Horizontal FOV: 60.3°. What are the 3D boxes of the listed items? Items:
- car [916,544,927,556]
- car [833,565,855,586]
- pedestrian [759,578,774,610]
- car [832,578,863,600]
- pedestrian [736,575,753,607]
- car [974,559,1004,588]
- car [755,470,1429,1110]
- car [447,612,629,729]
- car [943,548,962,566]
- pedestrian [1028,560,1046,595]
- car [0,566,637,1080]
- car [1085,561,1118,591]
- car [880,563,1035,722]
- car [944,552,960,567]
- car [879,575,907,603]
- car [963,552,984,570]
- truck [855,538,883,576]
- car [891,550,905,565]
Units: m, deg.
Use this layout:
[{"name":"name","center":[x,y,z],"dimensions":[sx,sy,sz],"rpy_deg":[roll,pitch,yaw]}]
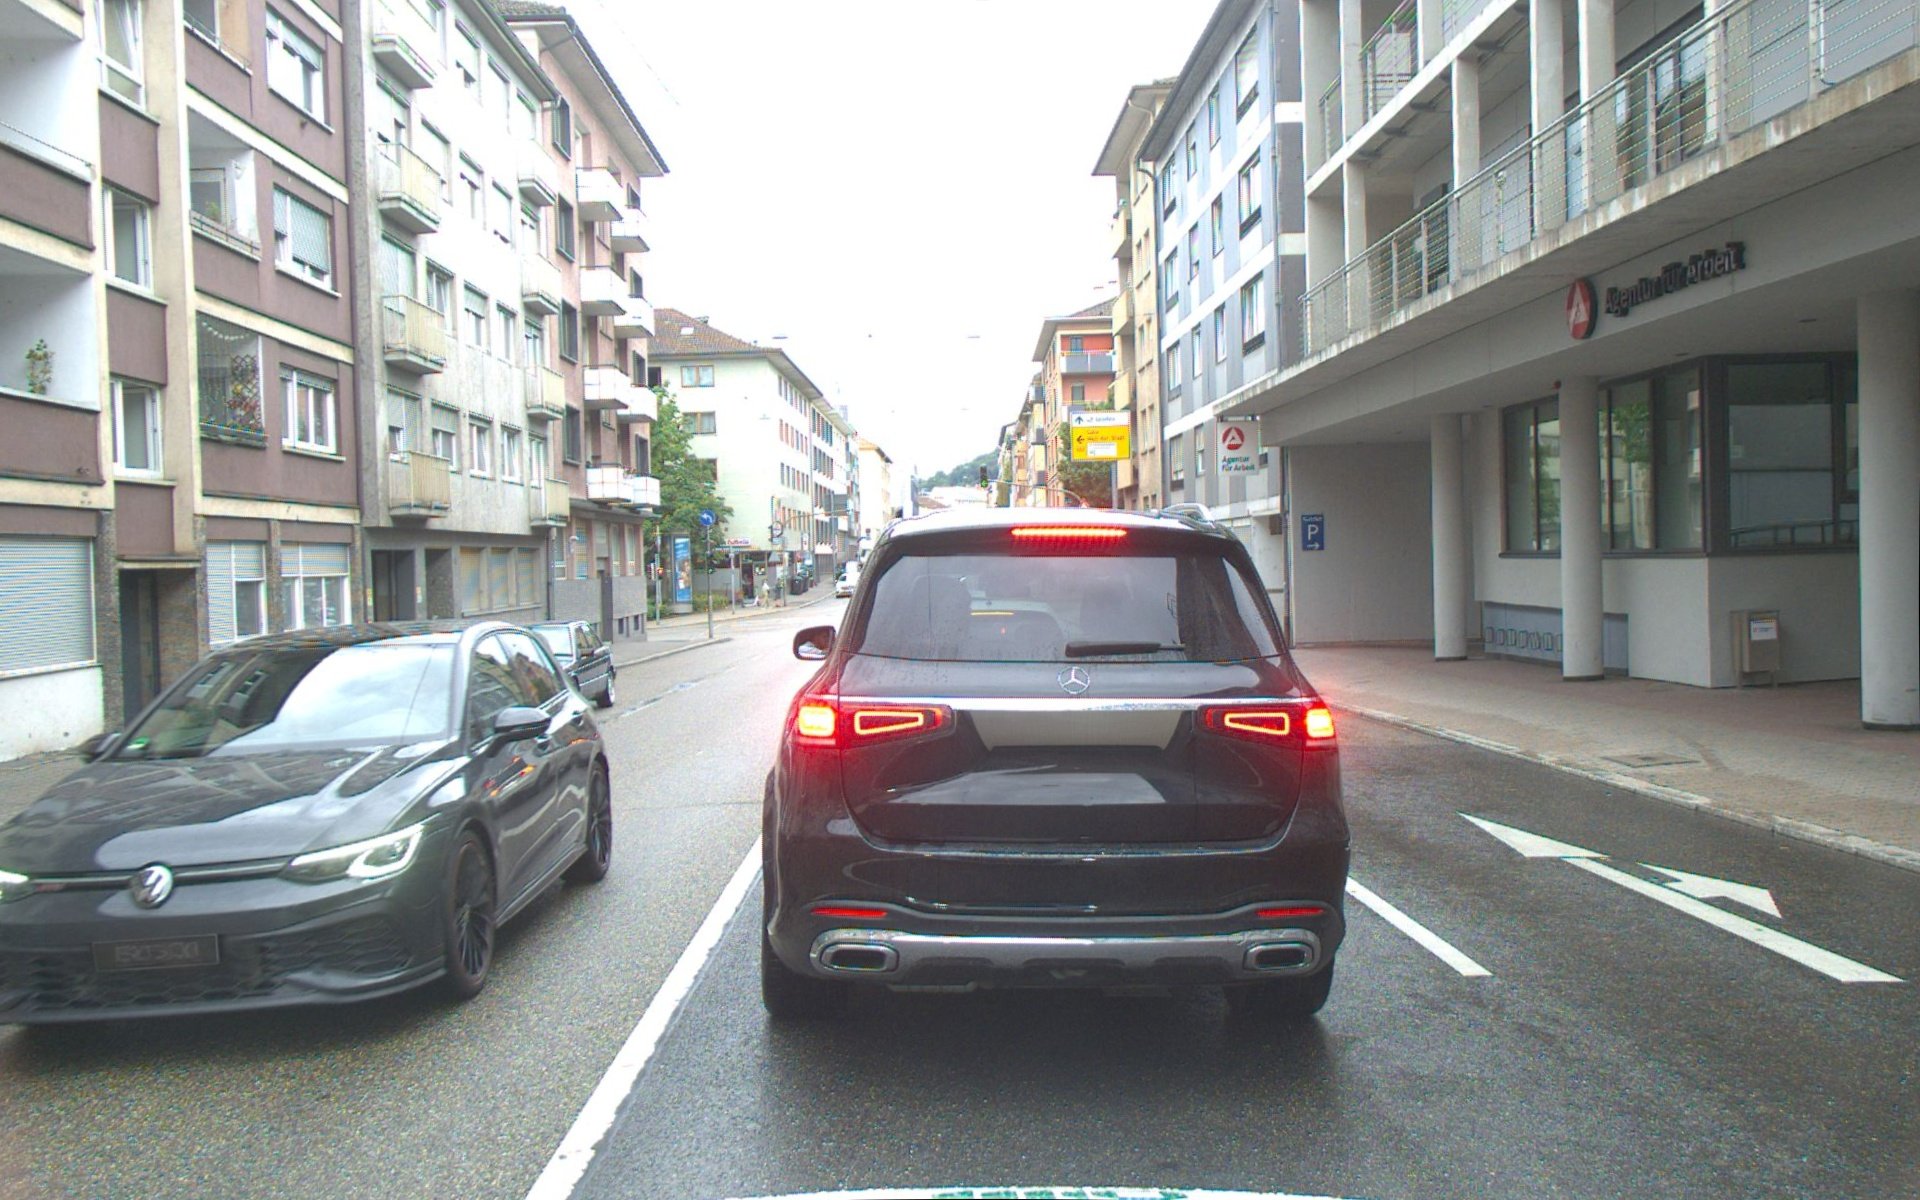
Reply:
[{"name":"car","center":[-5.817,-7.558,250.040],"dimensions":[1.586,1.566,4.215],"rpy_deg":[-3,0,-3]},{"name":"car","center":[-9.179,-1.933,131.480],"dimensions":[1.586,1.566,4.215],"rpy_deg":[-3,0,-3]},{"name":"pedestrian","center":[-10.954,-0.340,93.616],"dimensions":[0.622,1.795,0.774],"rpy_deg":[-2,0,11]},{"name":"car","center":[-7.288,-0.722,107.688],"dimensions":[1.848,1.286,4.215],"rpy_deg":[-3,0,-3]},{"name":"pedestrian","center":[-13.272,-0.565,101.778],"dimensions":[0.904,1.935,0.706],"rpy_deg":[-2,0,-3]},{"name":"car","center":[1.982,-1.812,114.378],"dimensions":[1.689,1.790,4.215],"rpy_deg":[-3,0,-3]},{"name":"car","center":[0.360,0.565,7.013],"dimensions":[1.944,1.836,4.389],"rpy_deg":[1,0,-1]},{"name":"car","center":[-6.019,0.953,24.076],"dimensions":[1.566,1.394,4.361],"rpy_deg":[-4,0,-2]},{"name":"car","center":[-0.708,-4.195,161.747],"dimensions":[1.586,1.566,4.215],"rpy_deg":[-3,0,-3]},{"name":"pedestrian","center":[4.549,-1.340,97.788],"dimensions":[0.904,2.049,0.706],"rpy_deg":[-2,0,-3]},{"name":"car","center":[-2.705,0.765,7.592],"dimensions":[1.661,1.608,4.216],"rpy_deg":[-4,-1,-2]},{"name":"car","center":[8.098,-1.357,94.748],"dimensions":[1.636,1.616,3.331],"rpy_deg":[-2,1,1]},{"name":"car","center":[-0.127,0.488,20.821],"dimensions":[1.716,1.762,4.215],"rpy_deg":[-1,0,-3]},{"name":"car","center":[-0.970,-4.734,192.192],"dimensions":[1.586,1.566,4.215],"rpy_deg":[-3,0,-3]},{"name":"car","center":[-4.124,-0.633,101.163],"dimensions":[1.586,1.566,4.215],"rpy_deg":[-3,0,-3]},{"name":"car","center":[1.187,-3.561,150.328],"dimensions":[1.586,1.411,4.215],"rpy_deg":[-3,0,-3]},{"name":"truck","center":[-8.598,-4.033,156.935],"dimensions":[2.430,3.099,9.914],"rpy_deg":[-3,0,-3]},{"name":"car","center":[-7.280,-4.924,193.598],"dimensions":[1.586,1.566,4.215],"rpy_deg":[-3,0,-3]}]
